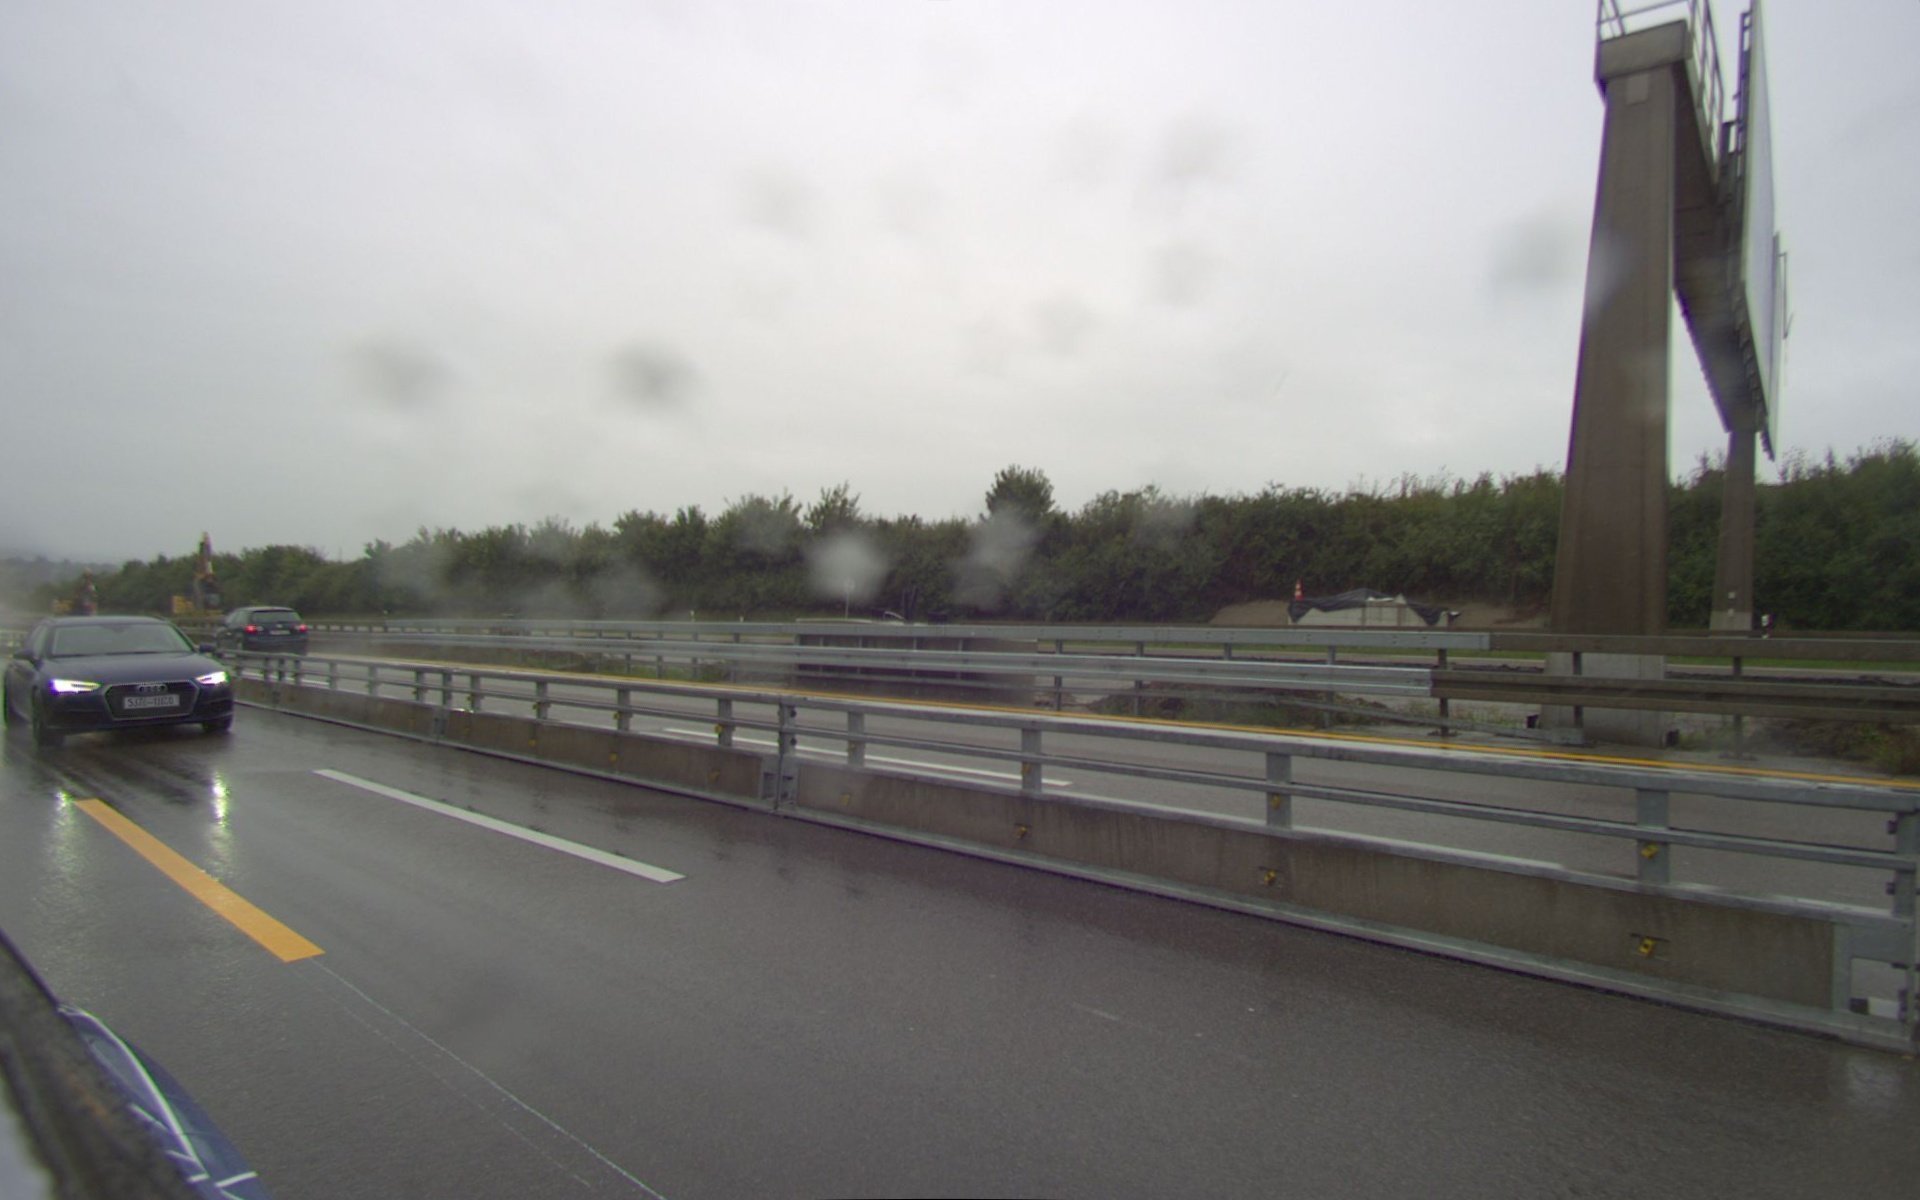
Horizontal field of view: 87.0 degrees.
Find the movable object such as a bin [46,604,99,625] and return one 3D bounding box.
[{"bbox_3d":[-102.680,1.704,117.092,5.086,2.312,3.411,-1,0,33],"label":"movable object such as a bin"}]

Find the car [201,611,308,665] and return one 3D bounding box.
[{"bbox_3d":[-21.706,1.116,31.089,4.129,1.514,1.827,-1,0,42],"label":"car"}]

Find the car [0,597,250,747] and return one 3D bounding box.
[{"bbox_3d":[-10.639,0.751,12.654,4.631,1.509,1.972,-1,0,43],"label":"car"}]

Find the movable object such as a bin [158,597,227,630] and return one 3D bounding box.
[{"bbox_3d":[-69.796,1.179,92.020,6.325,2.819,3.727,-1,0,40],"label":"movable object such as a bin"}]
